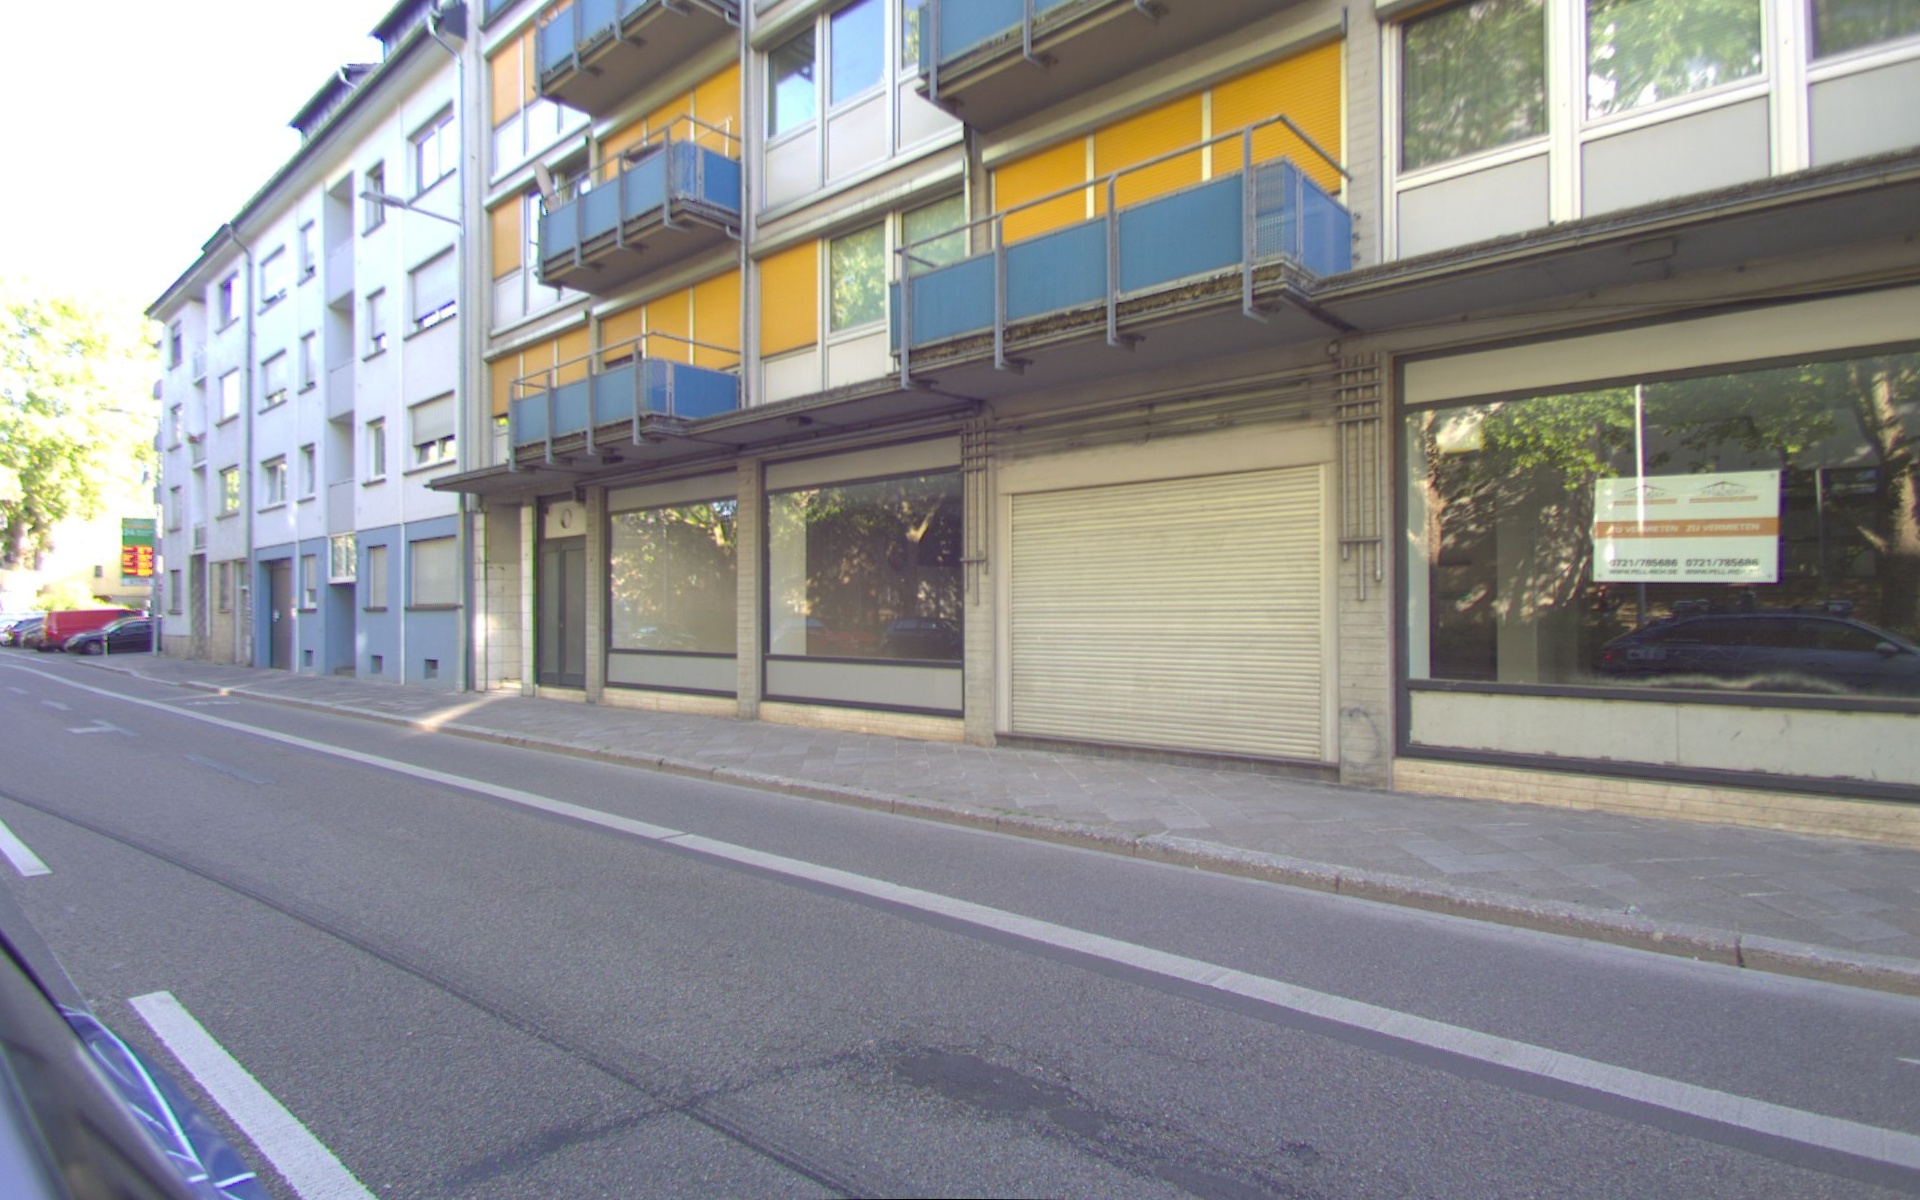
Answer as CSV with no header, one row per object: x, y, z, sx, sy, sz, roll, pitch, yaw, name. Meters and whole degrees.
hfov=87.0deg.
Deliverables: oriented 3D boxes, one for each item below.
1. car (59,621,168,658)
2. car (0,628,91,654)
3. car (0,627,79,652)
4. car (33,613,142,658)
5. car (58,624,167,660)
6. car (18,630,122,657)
-38.205,1.760,45.721,1.490,1.523,3.638,-1,0,43,car
-50.460,2.233,55.871,1.345,1.254,3.638,-1,0,42,car
-52.274,2.240,57.500,1.345,1.254,3.228,-1,0,43,car
-40.664,1.639,47.220,1.488,1.923,3.642,-4,-2,39,car
-36.689,1.802,43.841,1.490,1.398,3.462,-1,0,43,car
-42.827,2.065,48.735,1.345,1.137,3.638,-1,0,42,car
